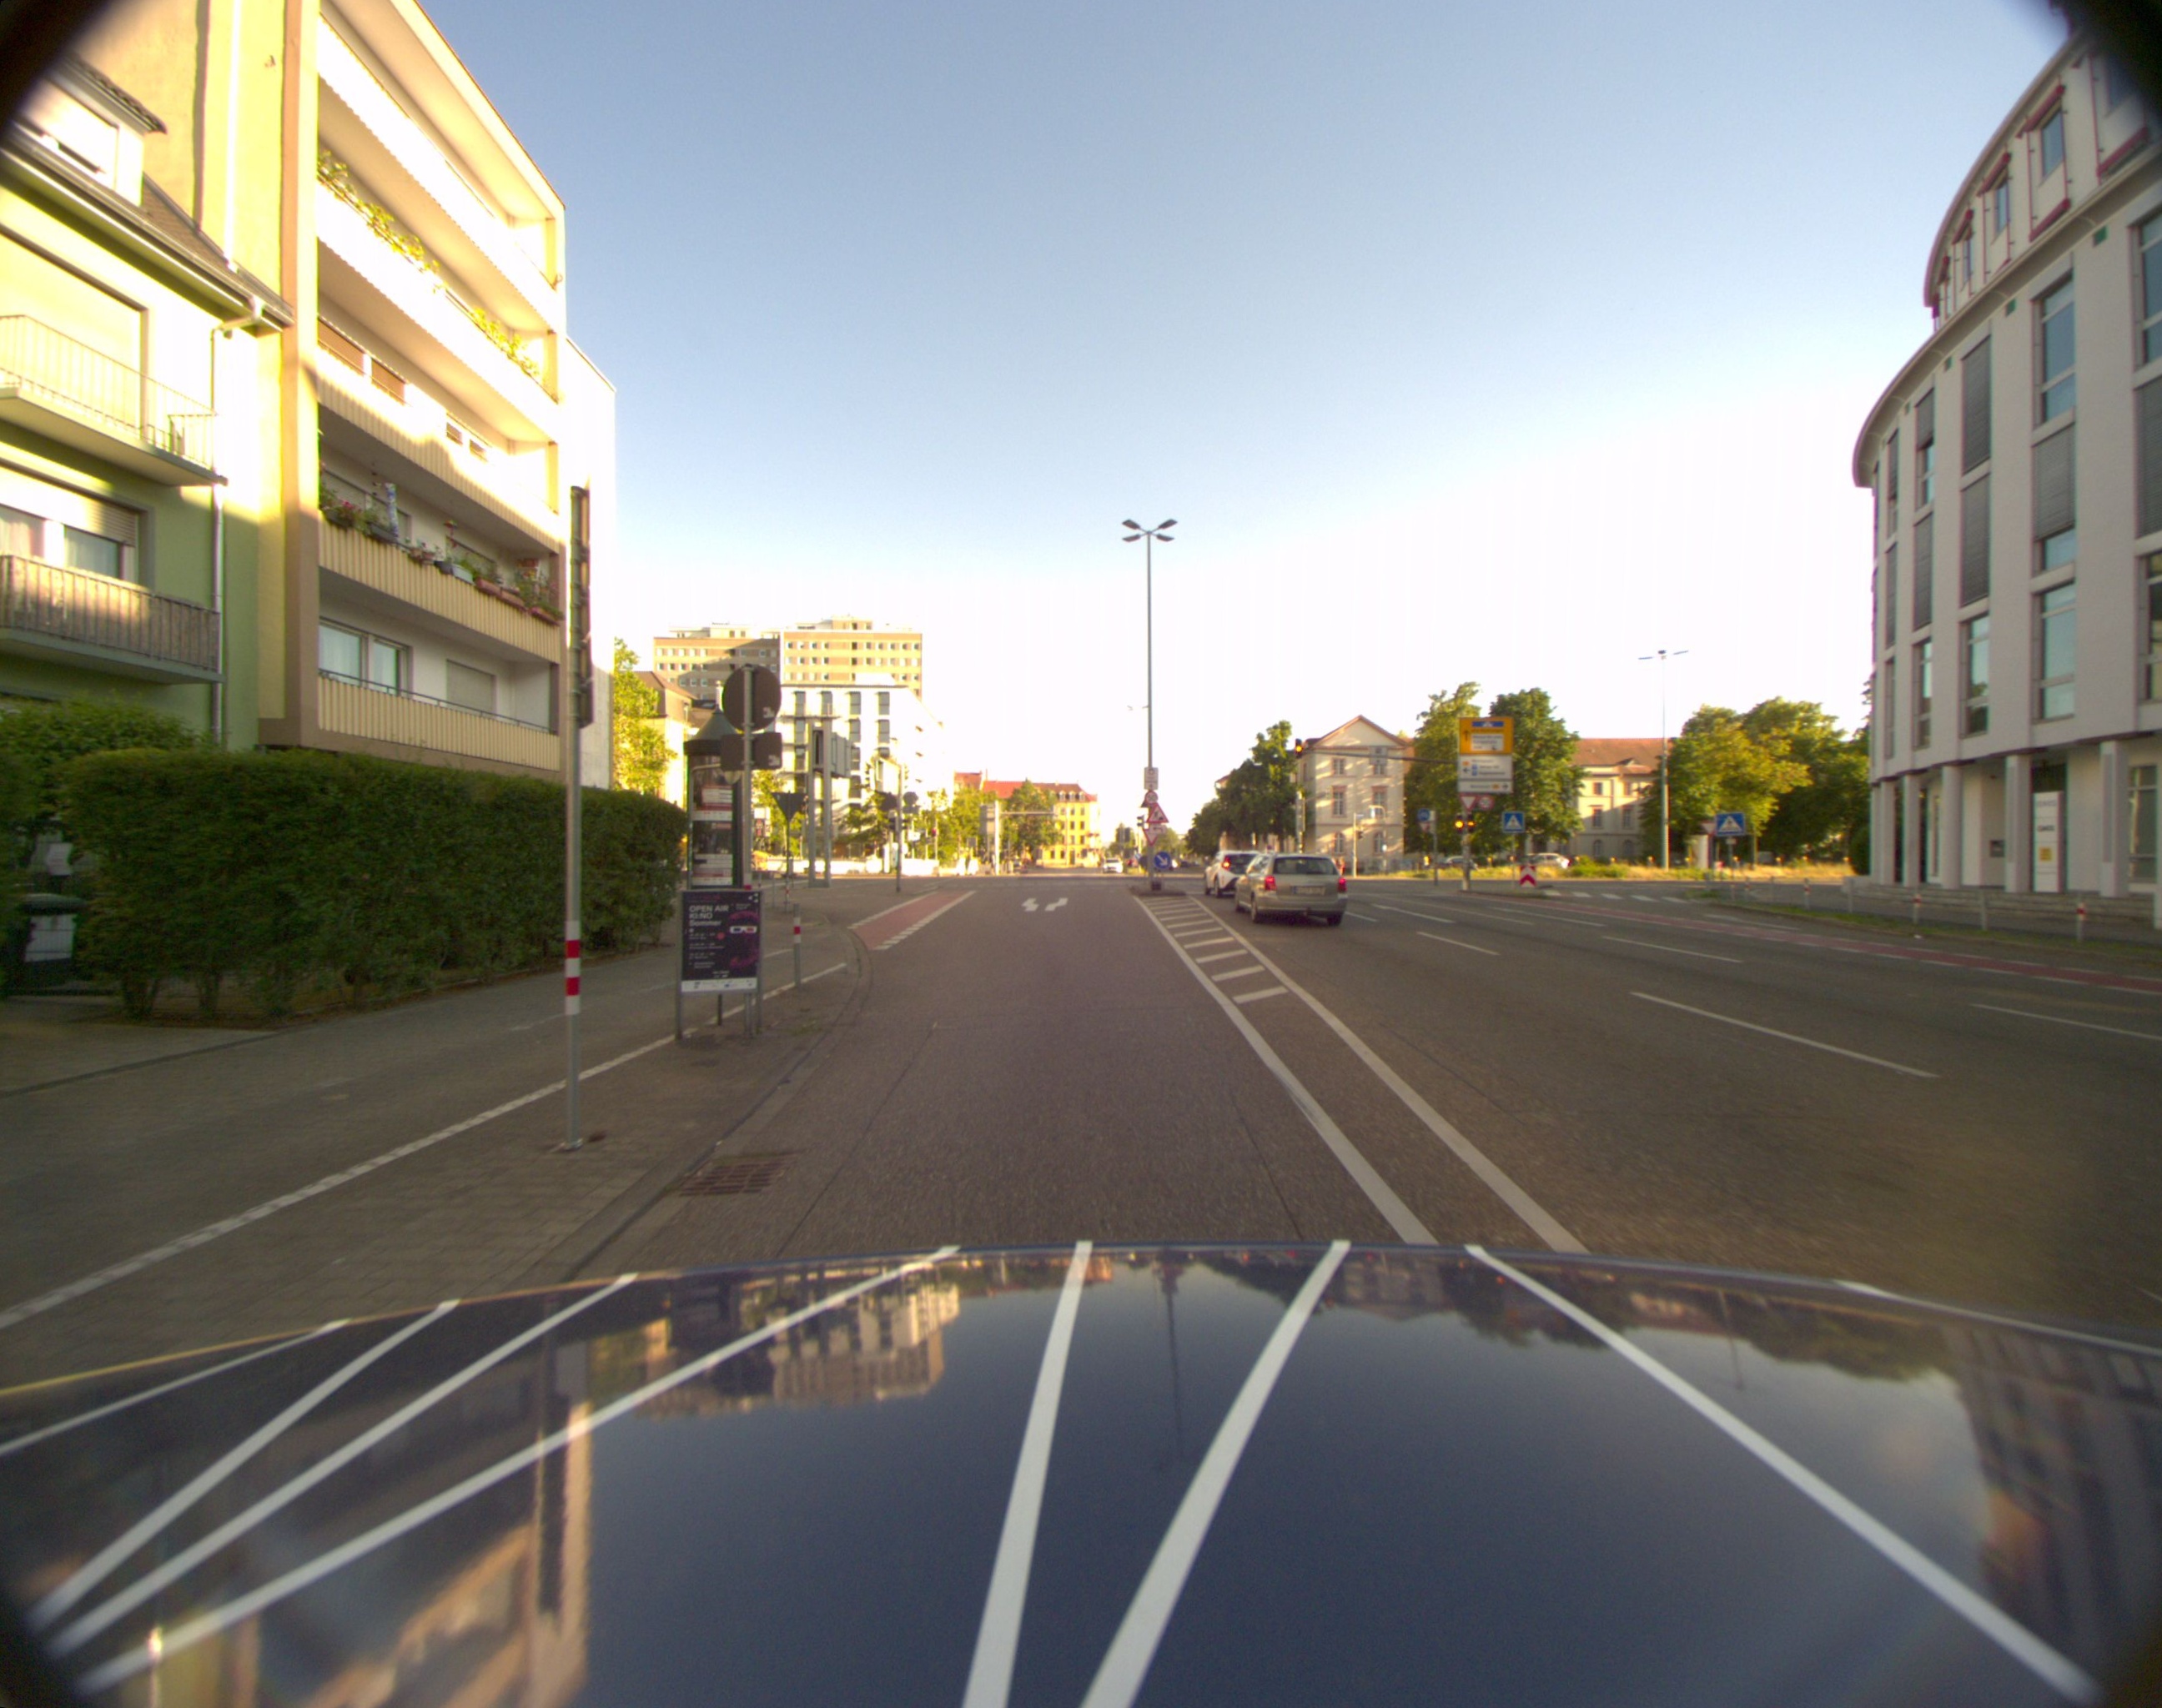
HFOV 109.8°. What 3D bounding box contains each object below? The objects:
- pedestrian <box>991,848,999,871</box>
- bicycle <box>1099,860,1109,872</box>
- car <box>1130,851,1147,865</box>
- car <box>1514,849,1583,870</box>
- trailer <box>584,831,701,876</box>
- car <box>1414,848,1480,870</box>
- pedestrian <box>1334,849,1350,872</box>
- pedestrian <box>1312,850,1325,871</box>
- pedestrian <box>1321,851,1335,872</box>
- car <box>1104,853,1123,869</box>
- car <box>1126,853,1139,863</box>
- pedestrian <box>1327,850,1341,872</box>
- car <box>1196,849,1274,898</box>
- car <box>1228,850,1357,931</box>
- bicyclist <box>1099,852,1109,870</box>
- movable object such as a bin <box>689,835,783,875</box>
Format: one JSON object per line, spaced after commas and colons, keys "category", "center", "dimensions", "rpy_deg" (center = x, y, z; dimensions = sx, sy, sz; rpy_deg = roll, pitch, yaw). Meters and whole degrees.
{"category": "pedestrian", "center": [-7.268, 0.450, 64.015], "dimensions": [0.500, 1.866, 0.601], "rpy_deg": [-1, 0, -28]}
{"category": "bicycle", "center": [2.089, 1.097, 68.767], "dimensions": [0.833, 1.101, 2.080], "rpy_deg": [-1, 0, 0]}
{"category": "car", "center": [7.753, 0.544, 102.383], "dimensions": [1.832, 1.836, 4.946], "rpy_deg": [-1, 0, 0]}
{"category": "car", "center": [32.862, 0.370, 53.419], "dimensions": [3.645, 1.437, 1.999], "rpy_deg": [-1, 0, -3]}
{"category": "trailer", "center": [-28.757, -0.047, 50.018], "dimensions": [6.128, 2.851, 2.540], "rpy_deg": [-1, 0, -4]}
{"category": "car", "center": [25.436, 0.331, 52.863], "dimensions": [3.645, 1.437, 1.999], "rpy_deg": [-1, 0, -3]}
{"category": "pedestrian", "center": [21.618, 0.537, 62.971], "dimensions": [0.821, 1.838, 1.169], "rpy_deg": [-1, 0, -7]}
{"category": "pedestrian", "center": [18.537, 0.527, 59.337], "dimensions": [0.621, 1.641, 0.889], "rpy_deg": [-1, 0, -7]}
{"category": "pedestrian", "center": [20.487, 0.591, 63.014], "dimensions": [0.678, 1.698, 1.084], "rpy_deg": [-1, 0, -7]}
{"category": "car", "center": [3.093, 0.650, 73.031], "dimensions": [1.764, 1.490, 3.708], "rpy_deg": [-1, 0, 2]}
{"category": "car", "center": [8.022, 0.604, 118.582], "dimensions": [1.764, 1.454, 4.292], "rpy_deg": [-1, 0, 0]}
{"category": "pedestrian", "center": [19.776, 0.549, 59.427], "dimensions": [0.678, 1.641, 0.882], "rpy_deg": [-1, 0, -7]}
{"category": "car", "center": [4.914, 0.586, 24.715], "dimensions": [1.832, 1.452, 3.902], "rpy_deg": [-1, 0, 1]}
{"category": "car", "center": [4.410, 0.689, 16.560], "dimensions": [1.831, 1.505, 4.606], "rpy_deg": [-1, 0, 4]}
{"category": "bicyclist", "center": [2.095, 0.607, 68.650], "dimensions": [0.838, 1.594, 1.023], "rpy_deg": [-1, 0, 0]}
{"category": "movable object such as a bin", "center": [-22.661, 0.065, 49.998], "dimensions": [5.211, 2.578, 2.000], "rpy_deg": [-1, 0, 0]}
